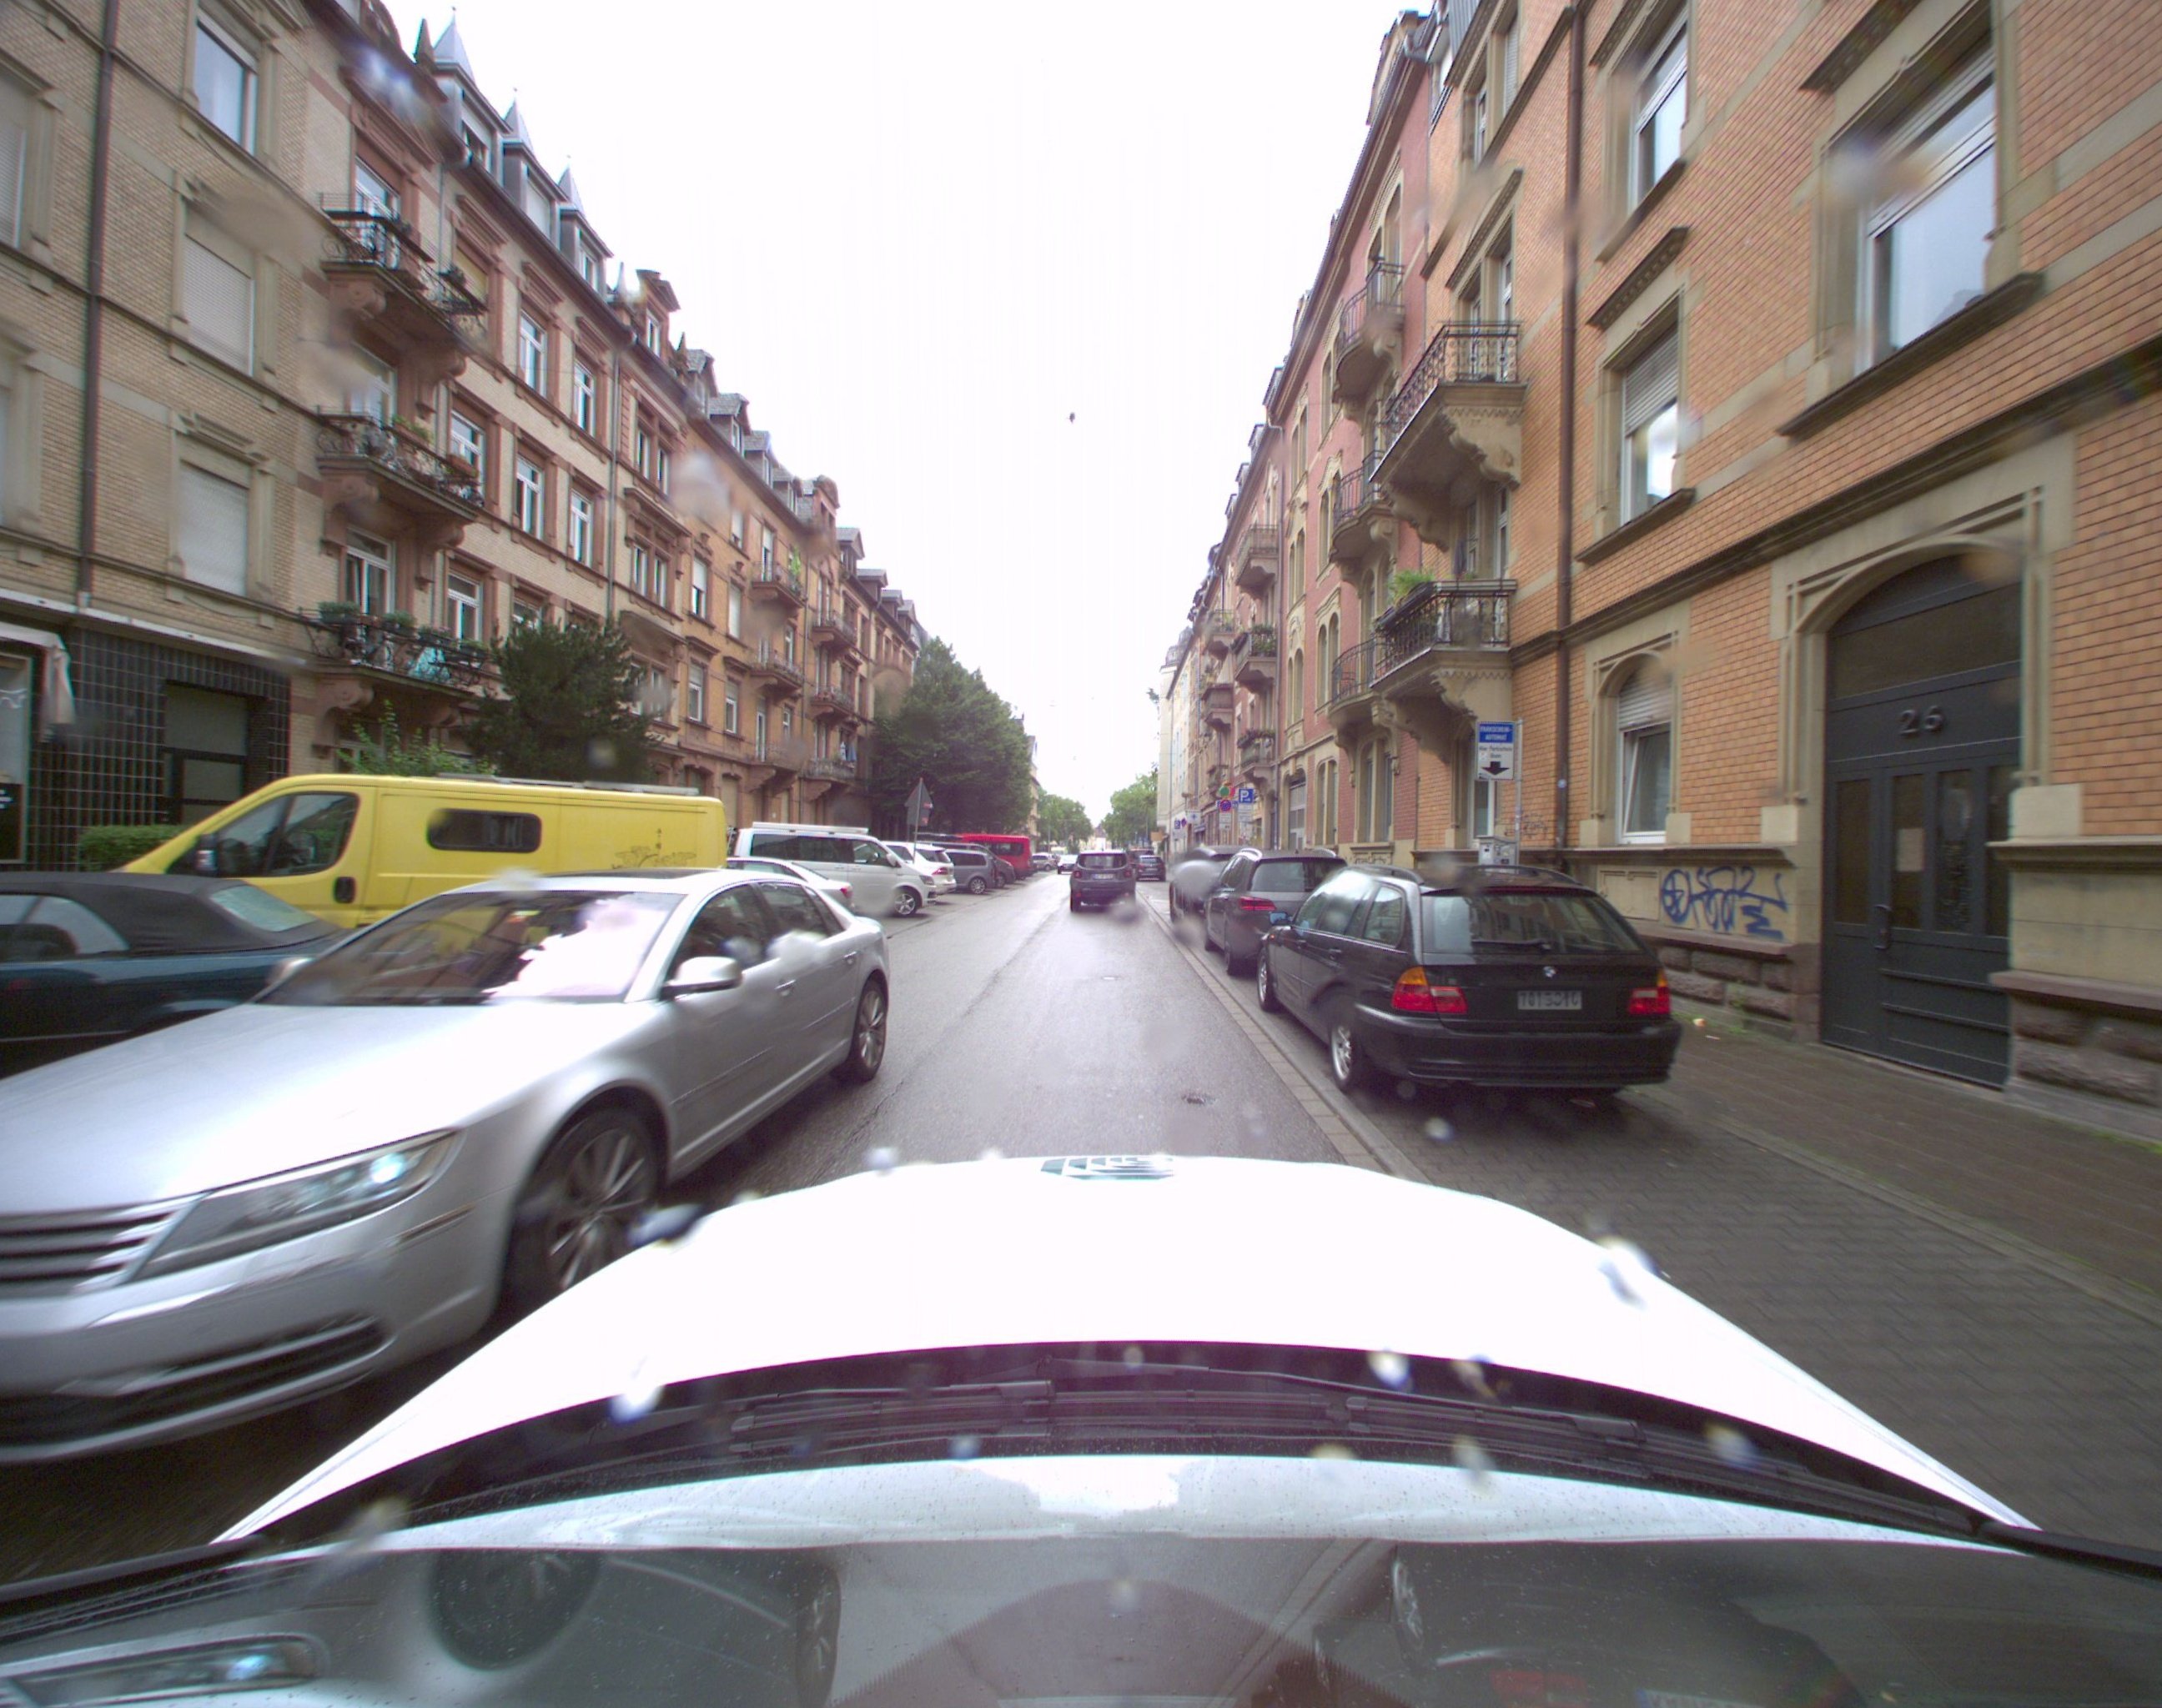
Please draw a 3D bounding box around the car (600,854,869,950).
[{"bbox_3d":[-5.888,0.761,14.058,4.009,1.436,1.769,1,0,-27],"label":"car"}]

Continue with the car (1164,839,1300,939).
[{"bbox_3d":[2.917,0.625,16.823,1.987,1.779,4.826,0,0,1],"label":"car"}]

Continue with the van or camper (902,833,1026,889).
[{"bbox_3d":[-5.248,0.330,36.531,5.033,2.349,2.326,1,0,-25],"label":"van or camper"}]

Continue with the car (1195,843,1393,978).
[{"bbox_3d":[2.796,0.664,11.694,1.864,1.561,4.347,-1,0,2],"label":"car"}]

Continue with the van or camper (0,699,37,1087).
[{"bbox_3d":[-6.487,0.278,2.103,4.097,2.240,1.918,4,-2,-31],"label":"van or camper"}]

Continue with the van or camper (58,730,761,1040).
[{"bbox_3d":[-5.936,0.288,8.111,4.741,2.268,2.164,3,0,-31],"label":"van or camper"}]

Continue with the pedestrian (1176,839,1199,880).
[{"bbox_3d":[5.394,0.297,41.115,0.672,1.936,0.814,-1,-15,36],"label":"pedestrian"}]

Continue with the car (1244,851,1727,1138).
[{"bbox_3d":[2.543,0.734,6.468,1.780,1.466,4.486,0,0,2],"label":"car"}]

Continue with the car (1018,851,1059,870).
[{"bbox_3d":[-3.928,0.590,75.436,3.398,1.654,1.618,0,0,-32],"label":"car"}]

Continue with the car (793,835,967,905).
[{"bbox_3d":[-6.010,0.474,24.887,4.563,1.785,2.546,3,0,0],"label":"car"}]

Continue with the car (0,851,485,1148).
[{"bbox_3d":[-6.186,0.768,4.883,4.013,1.495,1.809,-1,1,-31],"label":"car"}]

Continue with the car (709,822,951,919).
[{"bbox_3d":[-5.930,0.410,19.432,5.258,2.078,1.856,1,-1,-23],"label":"car"}]

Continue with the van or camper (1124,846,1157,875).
[{"bbox_3d":[4.036,0.413,56.366,2.014,1.891,5.056,-1,0,1],"label":"van or camper"}]

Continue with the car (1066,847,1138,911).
[{"bbox_3d":[0.577,0.657,23.537,1.892,1.671,4.506,0,0,1],"label":"car"}]

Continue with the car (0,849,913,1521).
[{"bbox_3d":[-2.366,0.740,4.178,1.788,1.494,4.587,1,0,3],"label":"car"}]

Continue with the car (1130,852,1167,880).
[{"bbox_3d":[3.834,0.673,46.925,1.835,1.545,4.003,0,0,1],"label":"car"}]

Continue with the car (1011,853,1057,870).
[{"bbox_3d":[-4.155,0.642,72.557,3.729,1.452,1.668,0,0,-34],"label":"car"}]

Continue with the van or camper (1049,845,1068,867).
[{"bbox_3d":[-2.996,0.303,109.222,2.114,2.531,6.875,-3,-2,1],"label":"van or camper"}]

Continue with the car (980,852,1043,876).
[{"bbox_3d":[-4.722,0.683,55.757,3.998,1.447,1.747,2,0,-39],"label":"car"}]

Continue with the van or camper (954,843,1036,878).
[{"bbox_3d":[-5.043,0.421,48.035,4.463,1.975,1.764,1,0,-32],"label":"van or camper"}]

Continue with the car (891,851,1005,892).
[{"bbox_3d":[-5.488,0.721,33.559,4.358,1.504,1.743,2,0,-21],"label":"car"}]

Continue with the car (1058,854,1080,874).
[{"bbox_3d":[-0.967,0.788,66.293,1.664,1.559,4.002,0,0,-1],"label":"car"}]

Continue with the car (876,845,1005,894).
[{"bbox_3d":[-5.356,0.590,31.105,4.452,1.630,1.830,3,0,-25],"label":"car"}]

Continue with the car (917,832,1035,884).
[{"bbox_3d":[-5.351,0.231,41.813,5.584,2.541,2.210,1,0,-26],"label":"car"}]
